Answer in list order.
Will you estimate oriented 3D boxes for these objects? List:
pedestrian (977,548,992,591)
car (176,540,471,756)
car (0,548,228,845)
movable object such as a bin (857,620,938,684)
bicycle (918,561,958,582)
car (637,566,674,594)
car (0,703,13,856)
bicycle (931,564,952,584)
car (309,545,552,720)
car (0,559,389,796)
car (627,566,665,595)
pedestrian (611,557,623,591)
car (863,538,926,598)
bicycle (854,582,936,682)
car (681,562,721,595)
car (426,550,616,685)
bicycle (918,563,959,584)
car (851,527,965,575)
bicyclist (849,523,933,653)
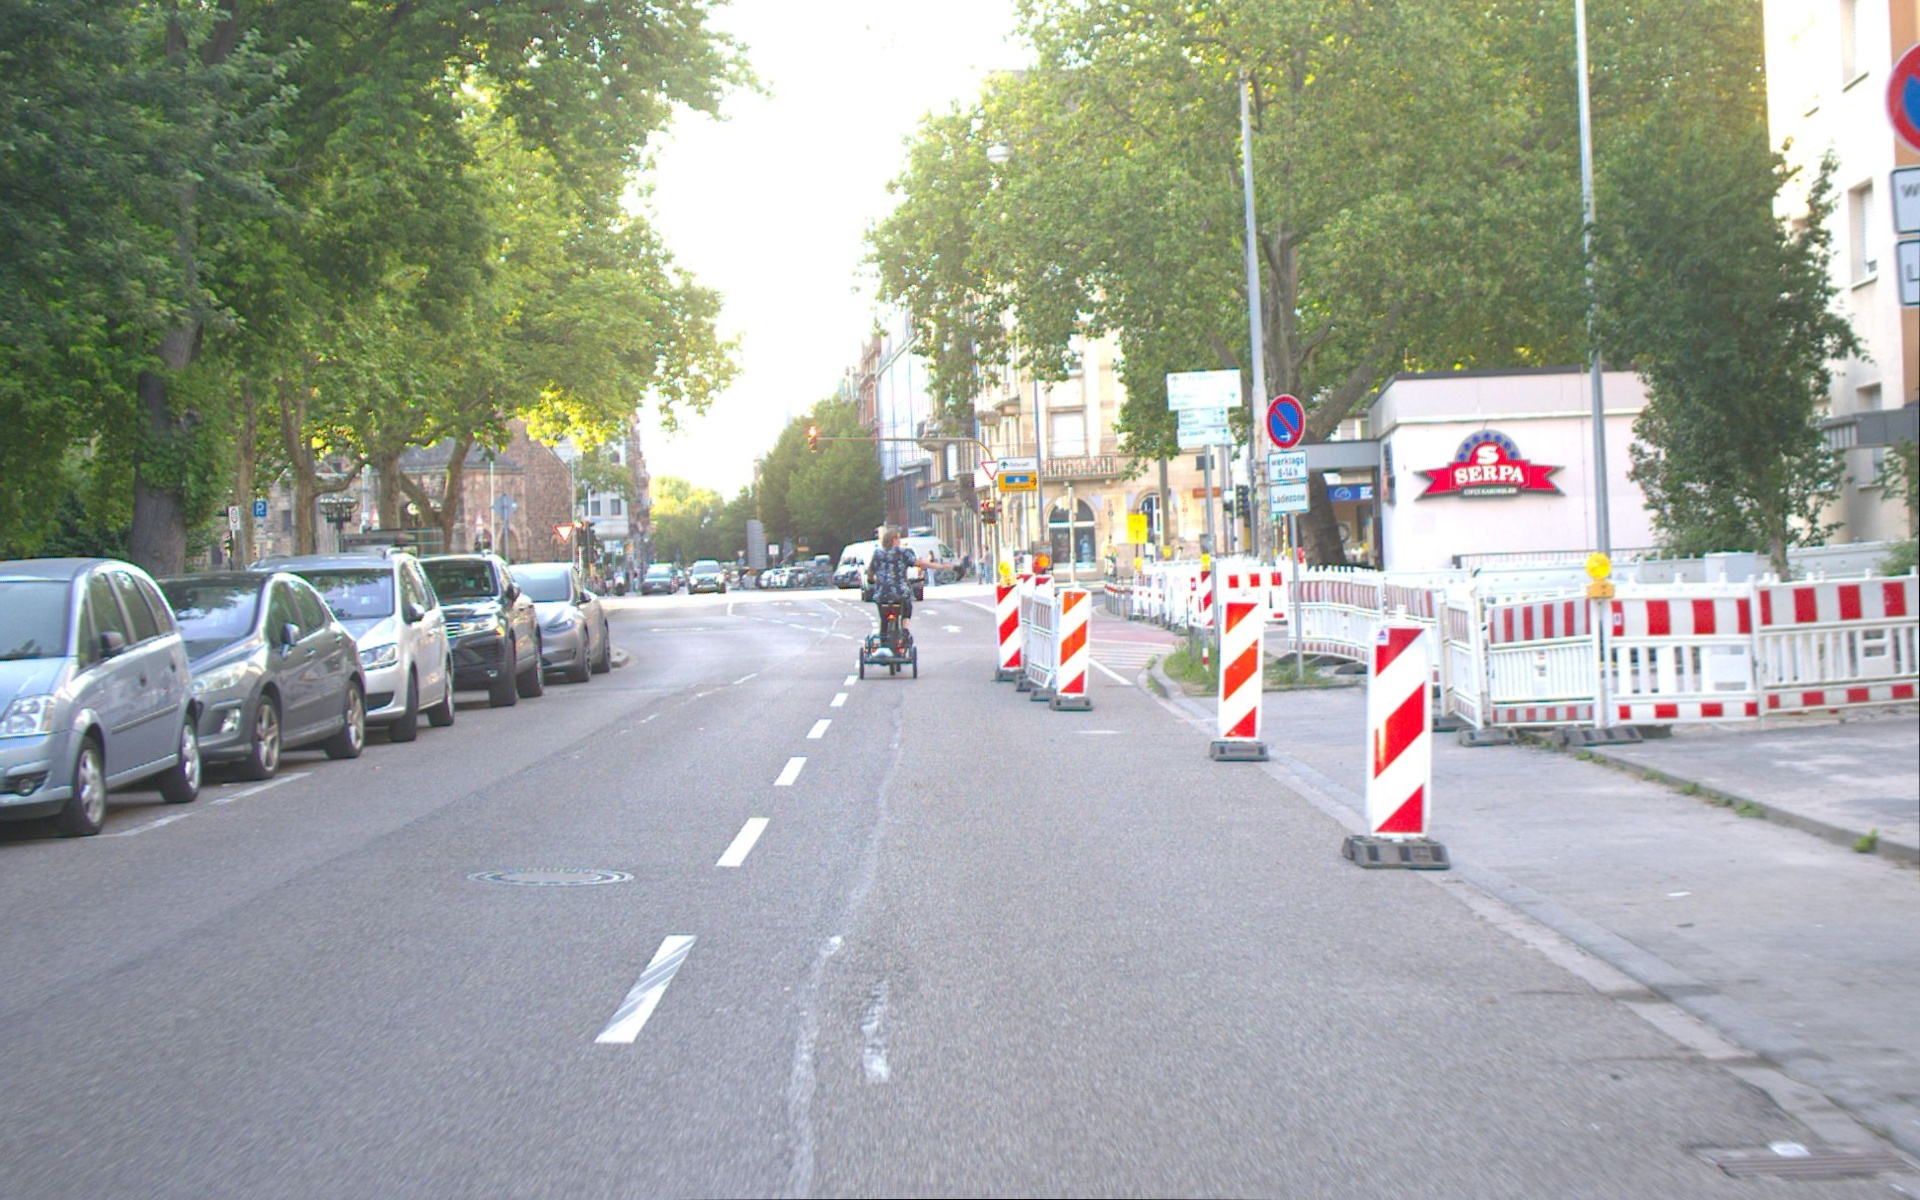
[{"bbox_3d":[1.073,-1.358,152.663,0.593,1.880,0.585,-2,1,3],"label":"pedestrian"},{"bbox_3d":[-5.657,0.372,31.124,1.846,1.685,4.860,-4,1,-2],"label":"car"},{"bbox_3d":[-5.782,0.558,20.859,1.707,1.595,4.117,-5,1,0],"label":"car"},{"bbox_3d":[-0.777,0.636,42.323,0.939,0.686,0.993,-4,0,-2],"label":"movable object such as a bin"},{"bbox_3d":[-1.071,-1.379,165.997,1.914,0.965,0.546,-2,1,-2],"label":"bicycle"},{"bbox_3d":[-18.302,-1.210,206.585,1.993,1.645,3.822,0,0,-8],"label":"car"},{"bbox_3d":[-5.949,0.717,16.367,1.707,1.447,3.843,-5,1,0],"label":"car"},{"bbox_3d":[-0.917,-1.284,168.425,0.544,0.965,1.920,-2,1,14],"label":"bicycle"},{"bbox_3d":[-5.823,0.309,38.379,1.953,1.713,4.771,-4,1,-1],"label":"car"},{"bbox_3d":[-5.659,0.510,25.664,1.733,1.492,4.270,-4,1,4],"label":"car"},{"bbox_3d":[-18.165,-1.155,198.778,1.993,1.645,3.822,0,0,-8],"label":"car"},{"bbox_3d":[-19.597,-1.489,196.193,0.593,1.880,0.553,-2,1,-2],"label":"pedestrian"},{"bbox_3d":[-2.124,-1.015,110.325,1.866,1.808,4.000,-3,1,-2],"label":"car"},{"bbox_3d":[-0.845,0.394,44.004,0.939,1.168,2.359,-4,0,-2],"label":"bicycle"},{"bbox_3d":[-13.340,-1.120,176.984,1.781,1.645,3.822,0,0,-8],"label":"car"},{"bbox_3d":[-5.880,0.194,46.540,1.953,1.611,4.605,-4,1,-1],"label":"car"},{"bbox_3d":[-1.044,-1.267,166.278,1.914,0.965,0.546,-2,1,-2],"label":"bicycle"},{"bbox_3d":[-2.584,-2.468,172.501,5.807,2.280,2.071,-2,1,-43],"label":"car"},{"bbox_3d":[-0.889,-0.159,44.022,0.939,1.576,1.146,-4,0,-2],"label":"bicyclist"}]
